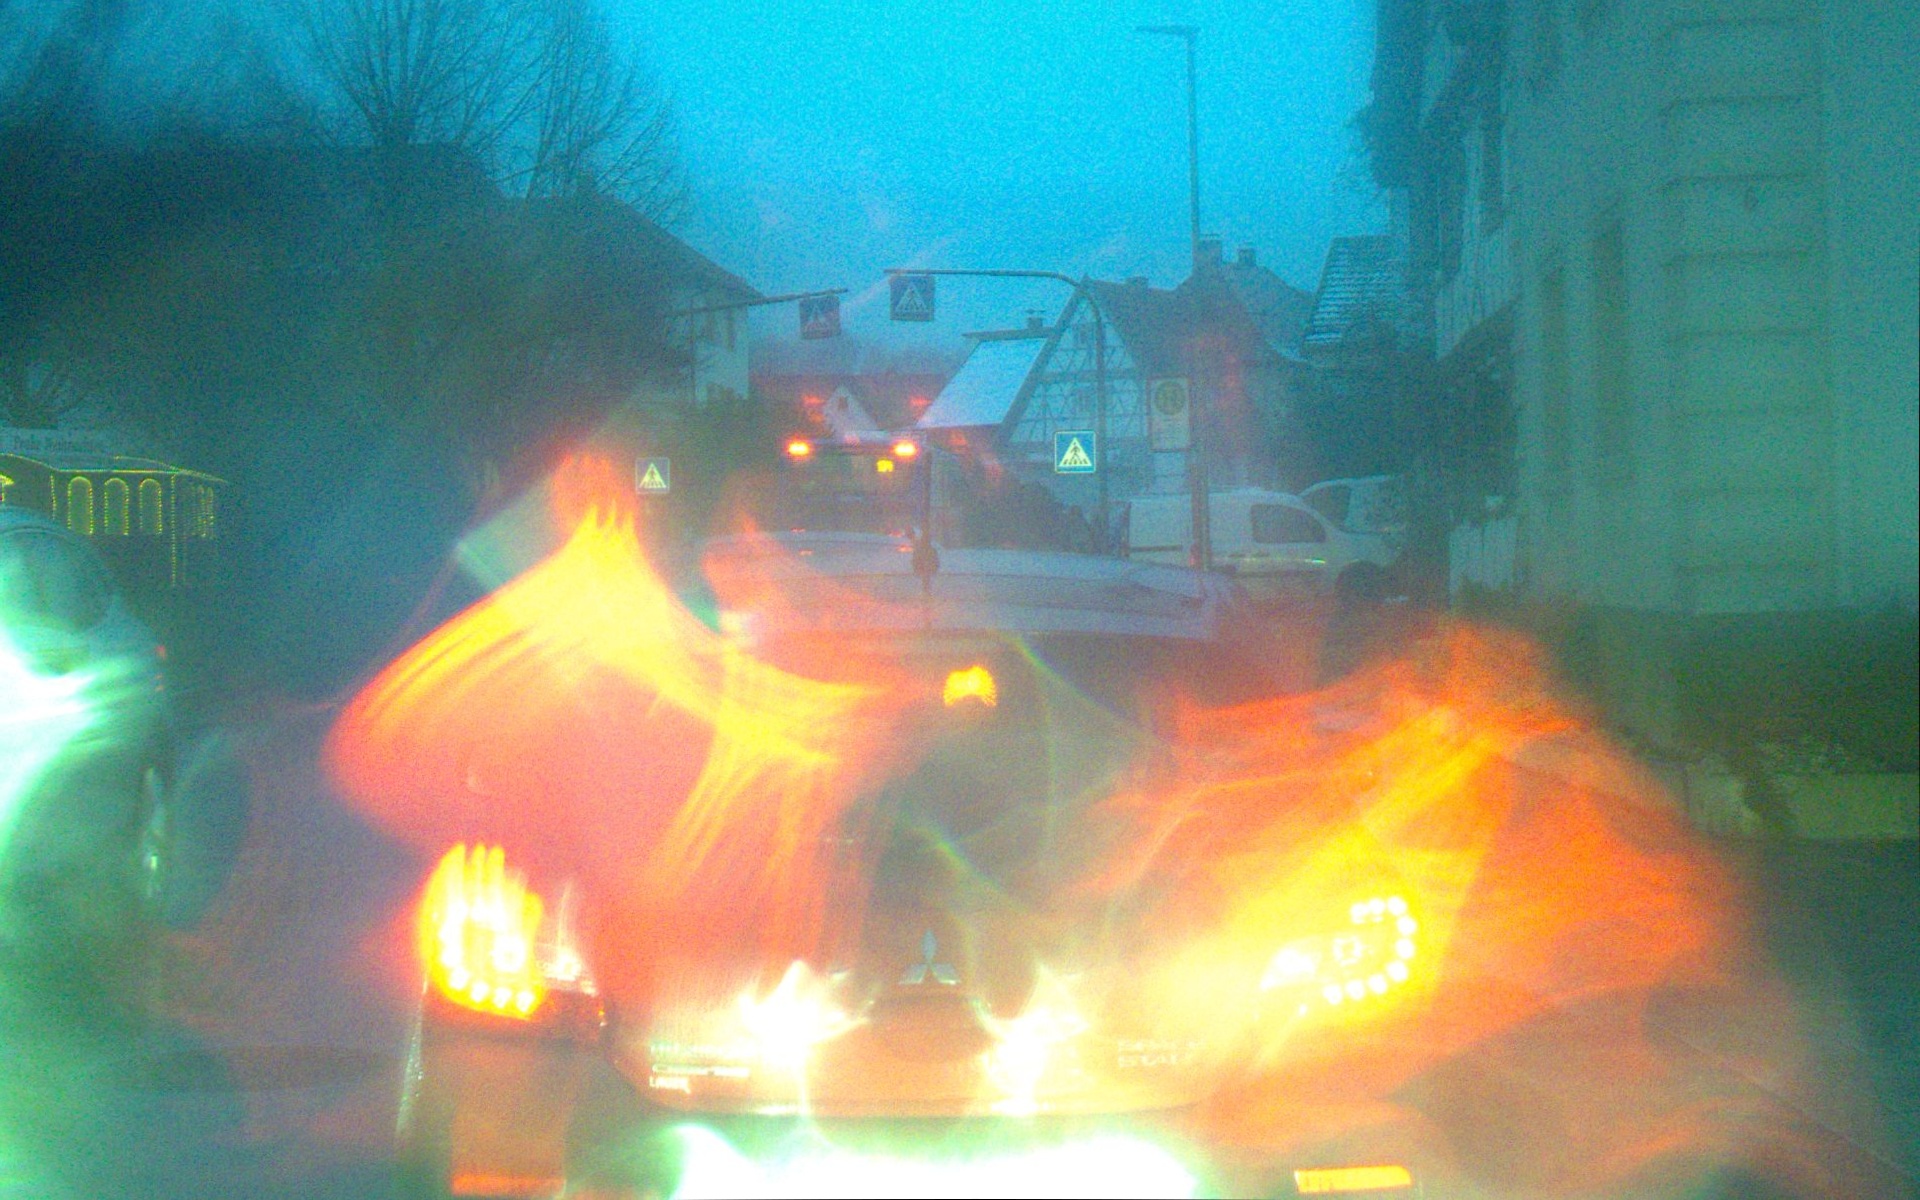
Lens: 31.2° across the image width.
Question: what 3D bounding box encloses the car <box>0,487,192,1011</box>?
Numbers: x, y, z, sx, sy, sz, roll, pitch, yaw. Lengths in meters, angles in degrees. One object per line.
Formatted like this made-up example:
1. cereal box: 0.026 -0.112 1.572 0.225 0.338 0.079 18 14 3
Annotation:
1. car: -3.879 0.435 11.491 1.810 1.590 4.400 -1 1 -3

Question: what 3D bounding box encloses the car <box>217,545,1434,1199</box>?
1. car: -0.198 0.641 6.328 1.638 1.476 3.379 0 1 -1

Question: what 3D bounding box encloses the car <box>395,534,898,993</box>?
1. car: -1.079 0.503 12.871 1.638 1.476 3.271 0 1 -2

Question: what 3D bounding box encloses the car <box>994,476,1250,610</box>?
1. car: 2.703 -0.945 56.916 4.098 2.144 1.913 0 1 7

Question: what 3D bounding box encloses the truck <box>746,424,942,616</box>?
1. truck: -1.895 -1.384 59.696 3.015 3.118 8.000 0 1 1

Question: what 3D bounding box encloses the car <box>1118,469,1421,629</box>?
1. car: 4.324 -0.710 47.884 4.098 2.155 1.913 0 1 7

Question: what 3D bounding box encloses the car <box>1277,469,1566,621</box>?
1. car: 6.708 -0.801 50.153 4.098 2.144 1.913 0 1 7
